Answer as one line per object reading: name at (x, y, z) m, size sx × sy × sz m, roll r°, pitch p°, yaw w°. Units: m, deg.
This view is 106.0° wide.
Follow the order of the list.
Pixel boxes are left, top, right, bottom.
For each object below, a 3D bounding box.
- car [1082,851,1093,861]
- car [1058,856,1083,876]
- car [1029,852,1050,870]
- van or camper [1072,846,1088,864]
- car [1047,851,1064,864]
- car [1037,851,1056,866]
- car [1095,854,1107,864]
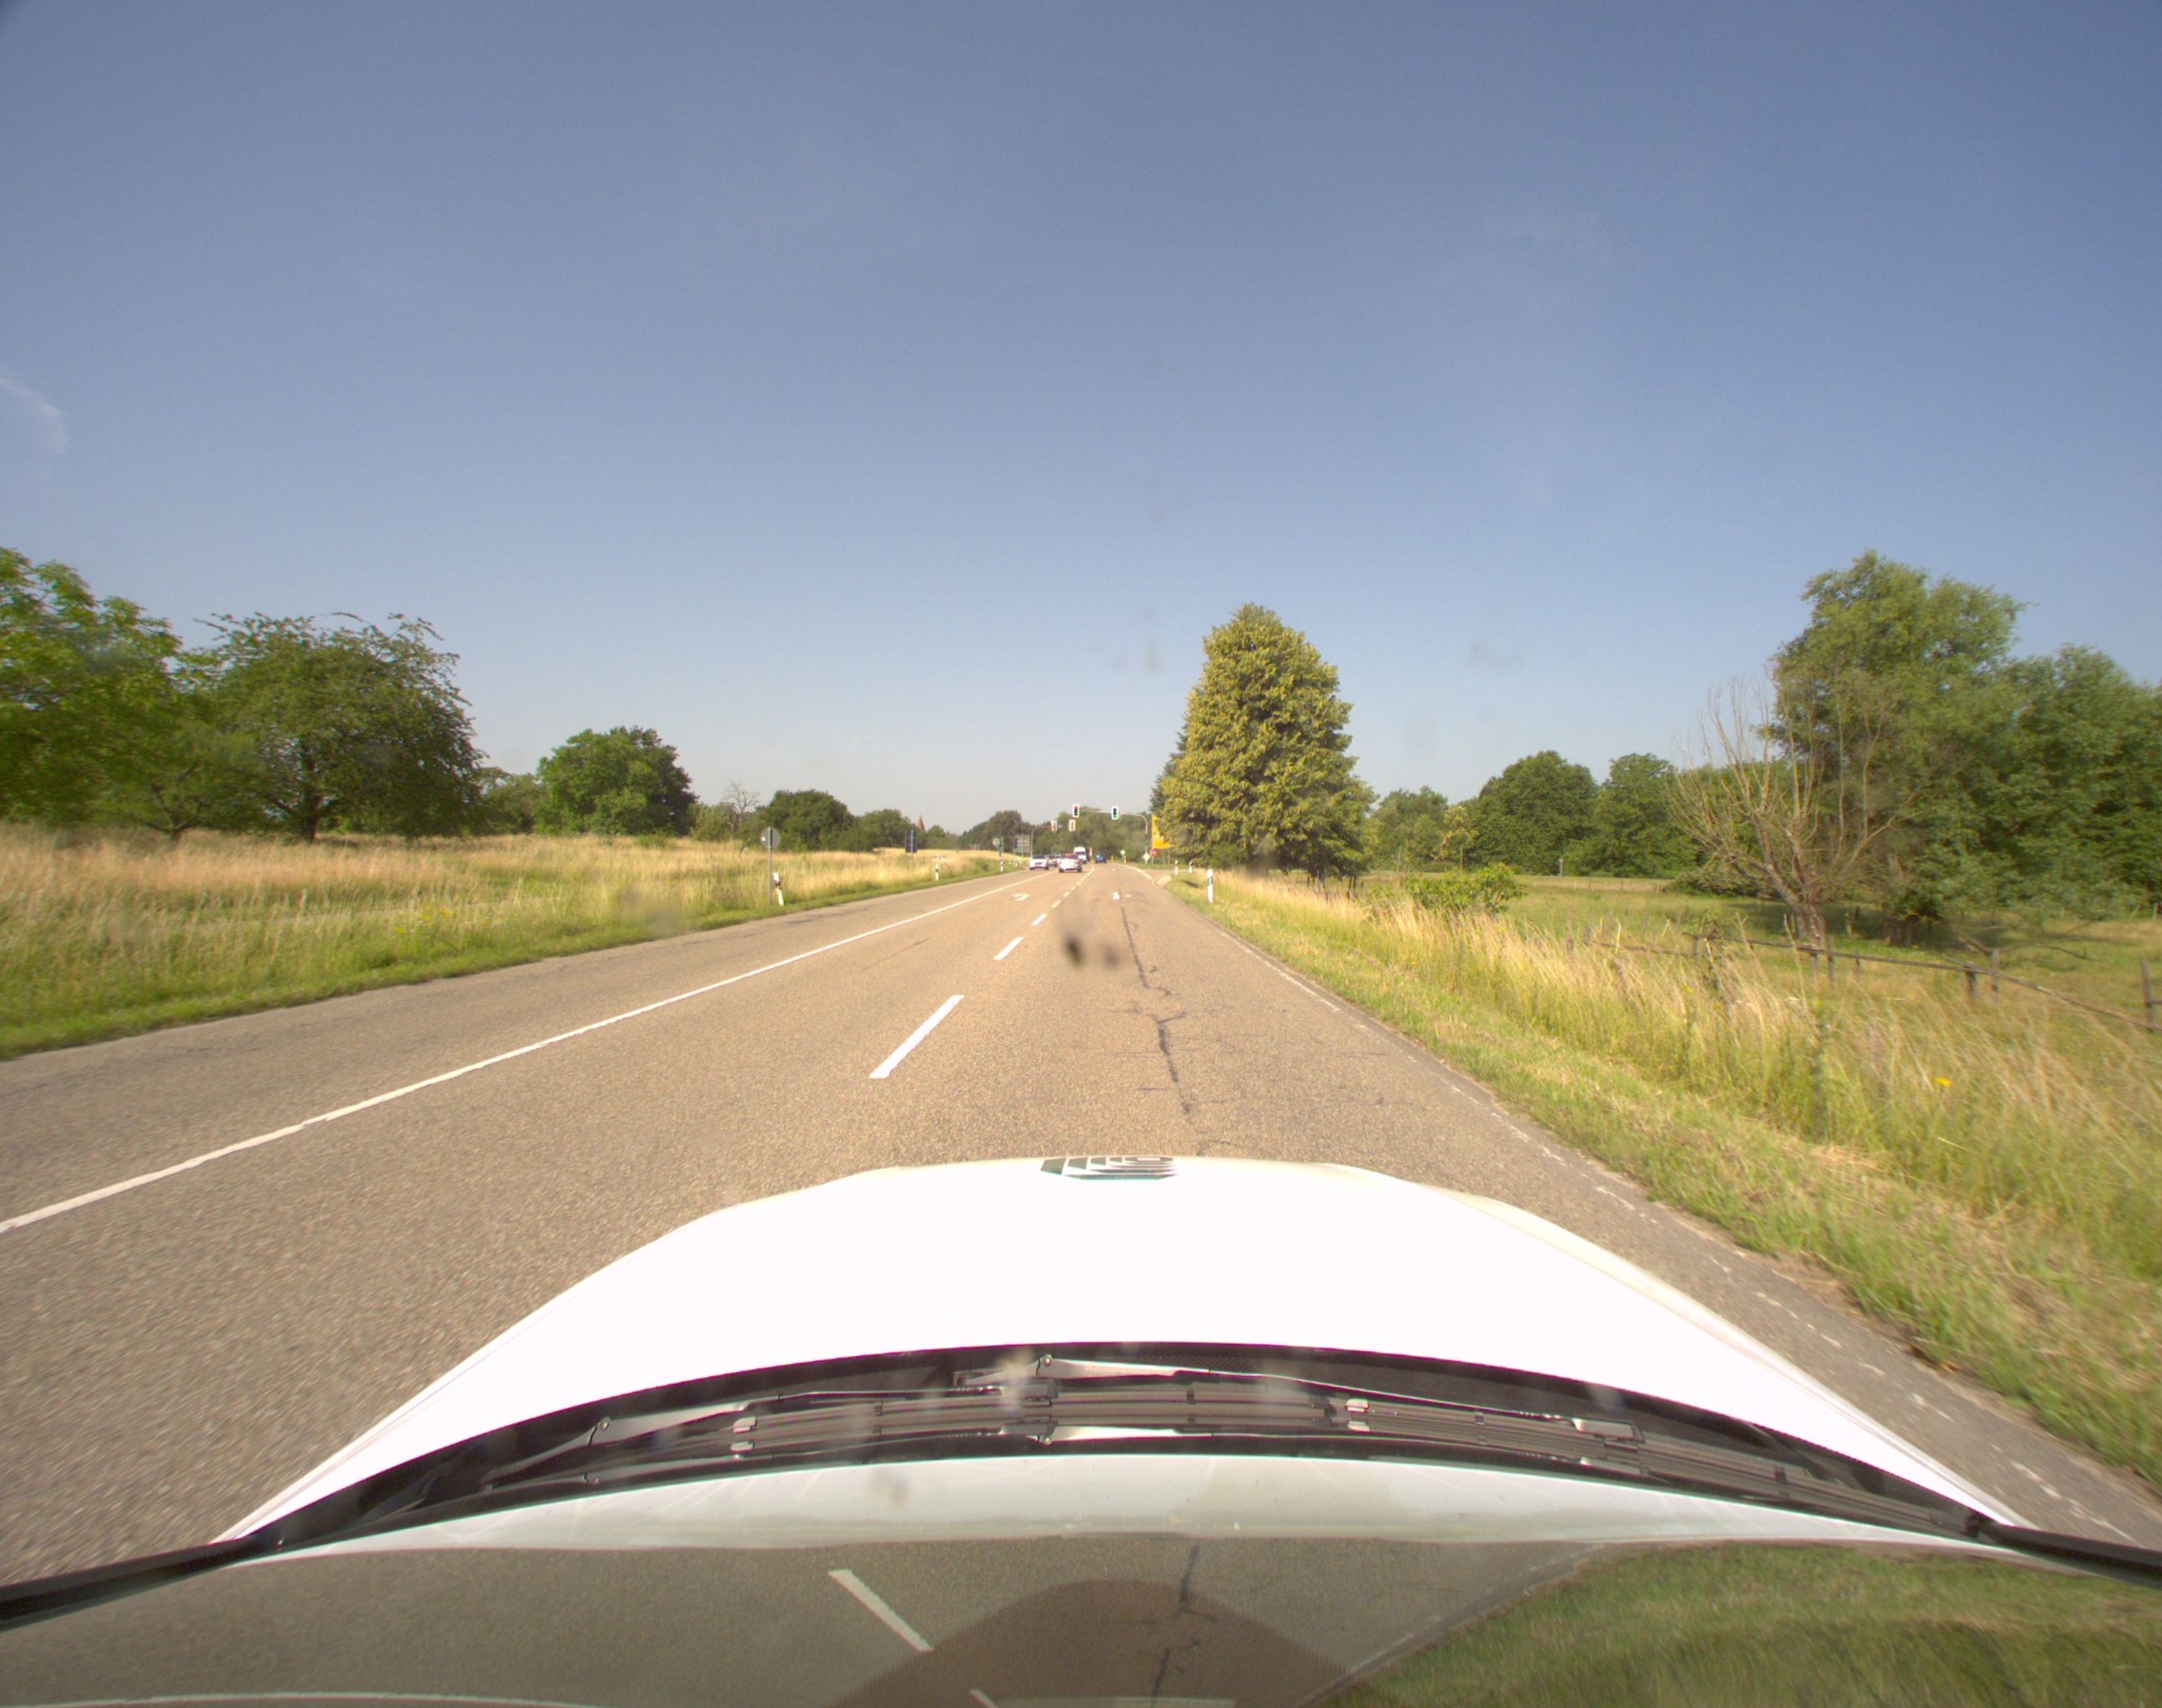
car at (1.362, 0.441, 164.157) m, size 1.986 × 1.815 × 4.001 m, roll 3°, pitch 0°, yaw 1°
car at (-0.883, 1.013, 70.808) m, size 1.892 × 1.512 × 4.002 m, roll 3°, pitch 0°, yaw 2°
car at (-4.200, 0.652, 83.651) m, size 1.585 × 1.728 × 4.005 m, roll 3°, pitch 0°, yaw 4°
van or camper at (-0.163, 0.098, 129.685) m, size 2.256 × 2.709 × 5.266 m, roll 3°, pitch 0°, yaw 2°
car at (-3.704, 0.472, 117.371) m, size 1.924 × 1.728 × 4.005 m, roll 3°, pitch 0°, yaw 4°
car at (-4.325, 0.534, 102.804) m, size 1.924 × 1.728 × 4.005 m, roll 3°, pitch 0°, yaw 4°
car at (3.338, 0.864, 132.898) m, size 1.809 × 1.520 × 4.002 m, roll 3°, pitch 0°, yaw 2°
